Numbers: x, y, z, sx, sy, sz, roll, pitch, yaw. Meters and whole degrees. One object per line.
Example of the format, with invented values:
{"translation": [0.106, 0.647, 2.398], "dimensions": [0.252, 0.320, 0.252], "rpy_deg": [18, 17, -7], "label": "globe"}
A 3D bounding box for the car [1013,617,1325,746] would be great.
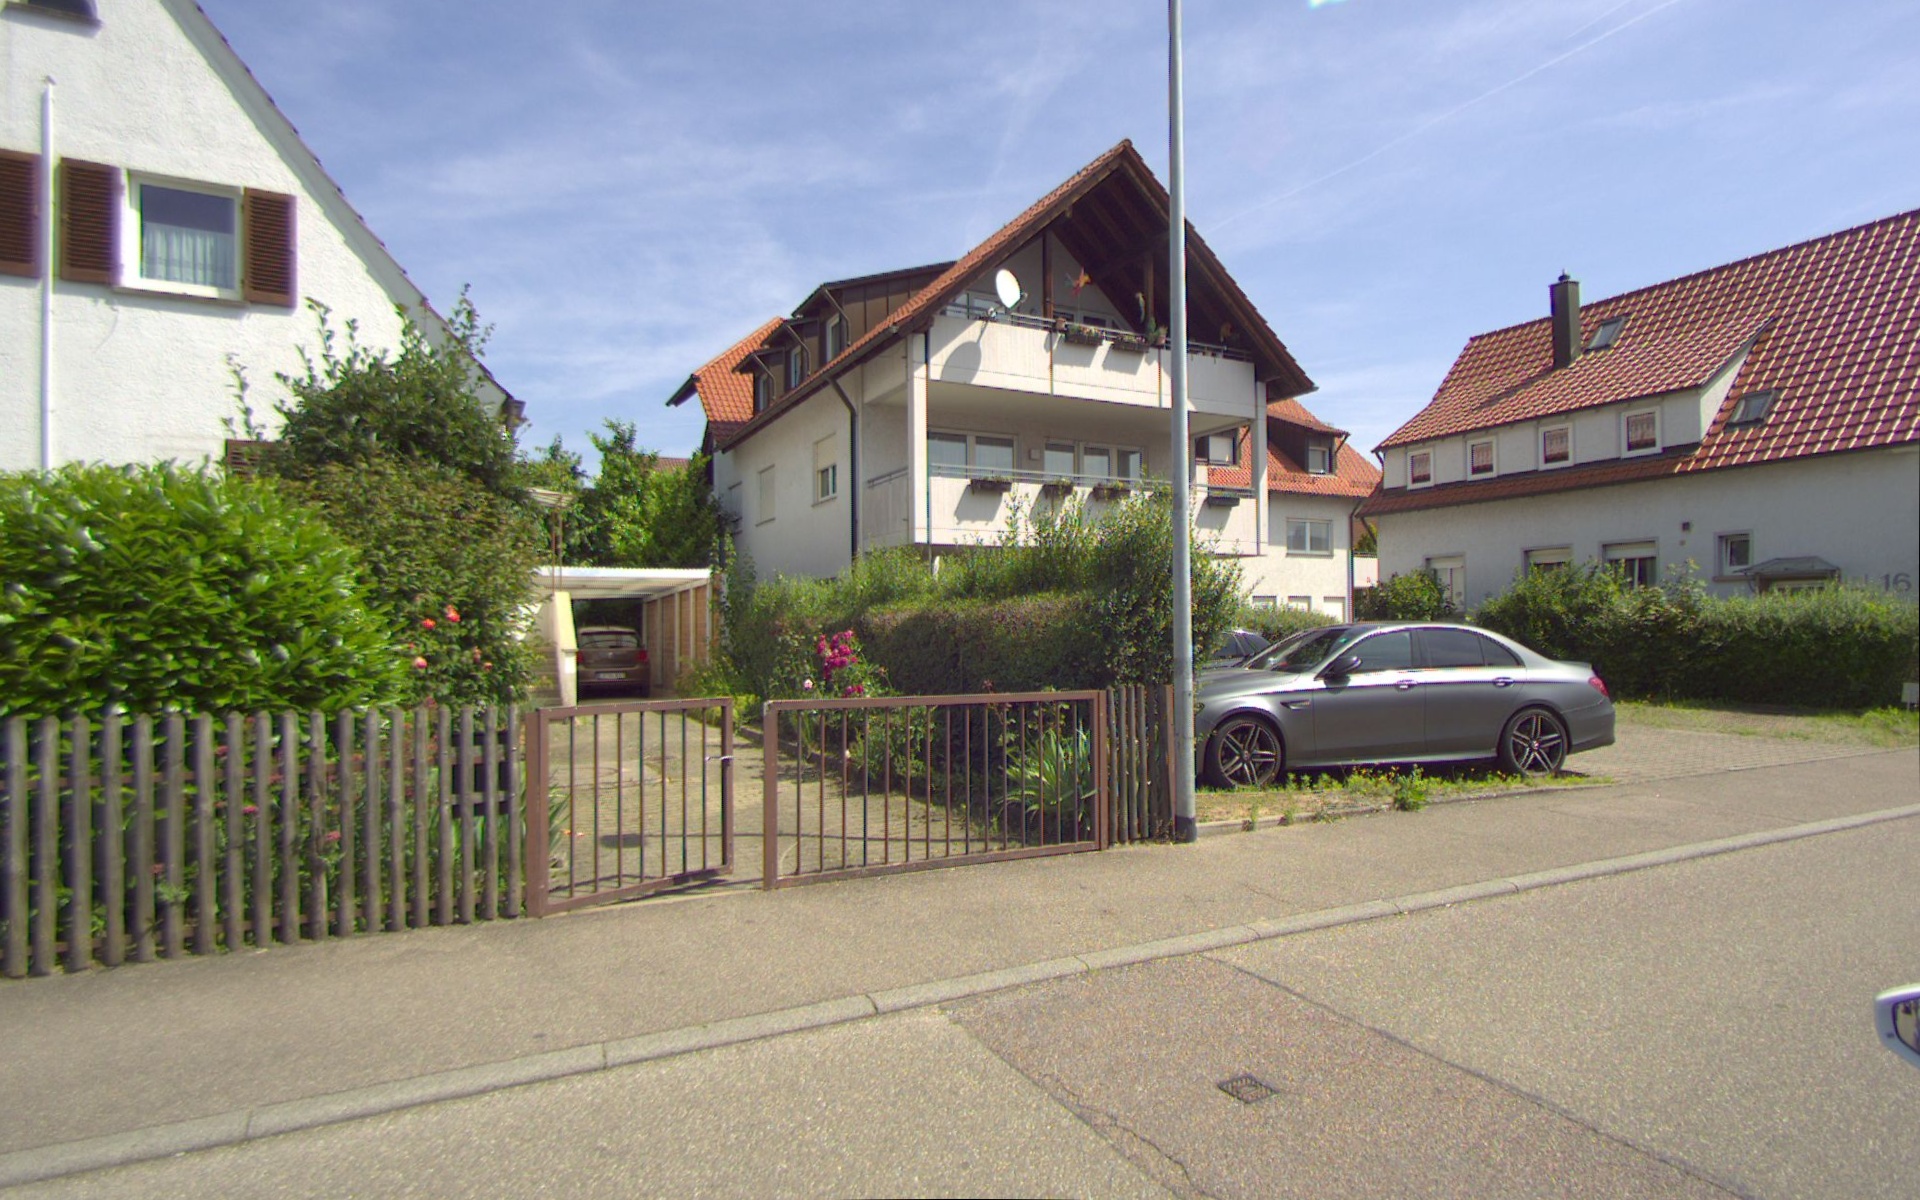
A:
{"translation": [2.598, 1.000, 12.929], "dimensions": [3.584, 1.521, 1.693], "rpy_deg": [0, -1, -7], "label": "car"}

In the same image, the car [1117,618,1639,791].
{"translation": [3.973, 0.921, 9.823], "dimensions": [4.483, 1.451, 1.829], "rpy_deg": [1, -1, -12], "label": "car"}

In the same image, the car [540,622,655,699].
{"translation": [-7.813, 1.215, 21.471], "dimensions": [1.641, 1.449, 3.825], "rpy_deg": [1, -1, -30], "label": "car"}
